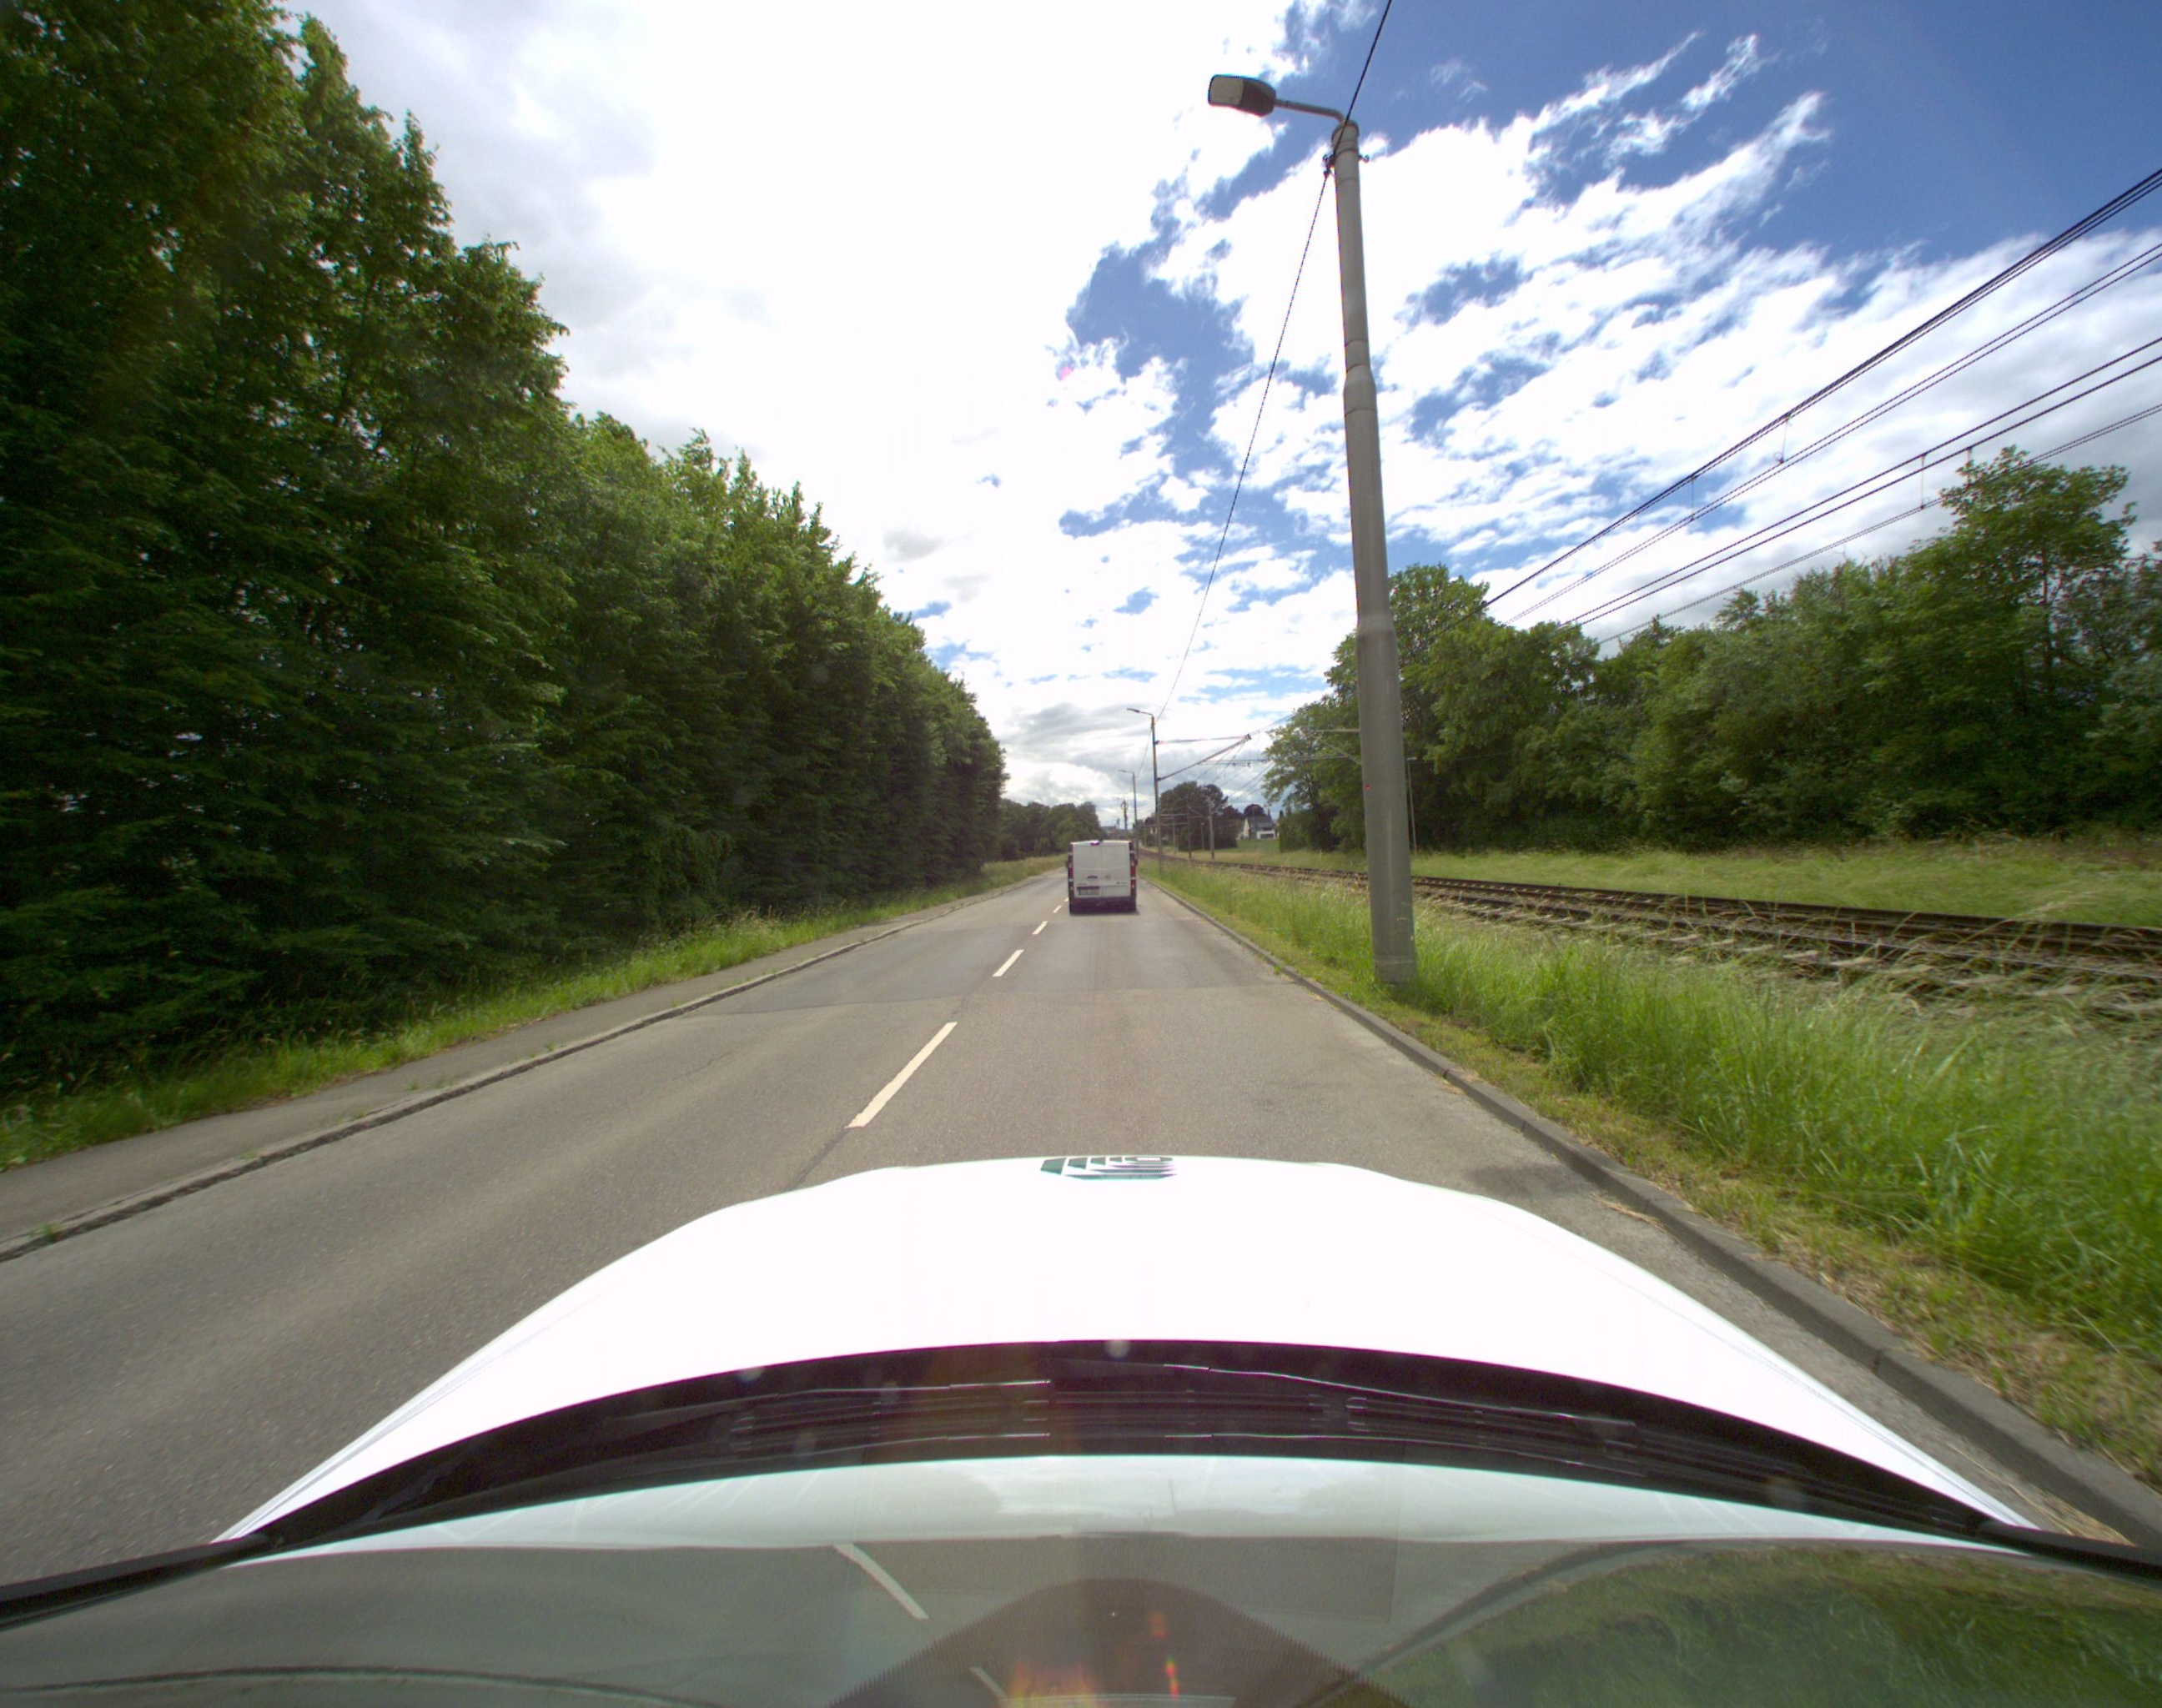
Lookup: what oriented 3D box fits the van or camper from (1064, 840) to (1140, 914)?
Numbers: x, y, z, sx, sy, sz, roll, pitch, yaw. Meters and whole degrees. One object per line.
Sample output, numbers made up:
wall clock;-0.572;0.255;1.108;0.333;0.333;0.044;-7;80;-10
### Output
van or camper;0.700;0.557;23.415;1.933;1.897;4.290;-1;1;4
